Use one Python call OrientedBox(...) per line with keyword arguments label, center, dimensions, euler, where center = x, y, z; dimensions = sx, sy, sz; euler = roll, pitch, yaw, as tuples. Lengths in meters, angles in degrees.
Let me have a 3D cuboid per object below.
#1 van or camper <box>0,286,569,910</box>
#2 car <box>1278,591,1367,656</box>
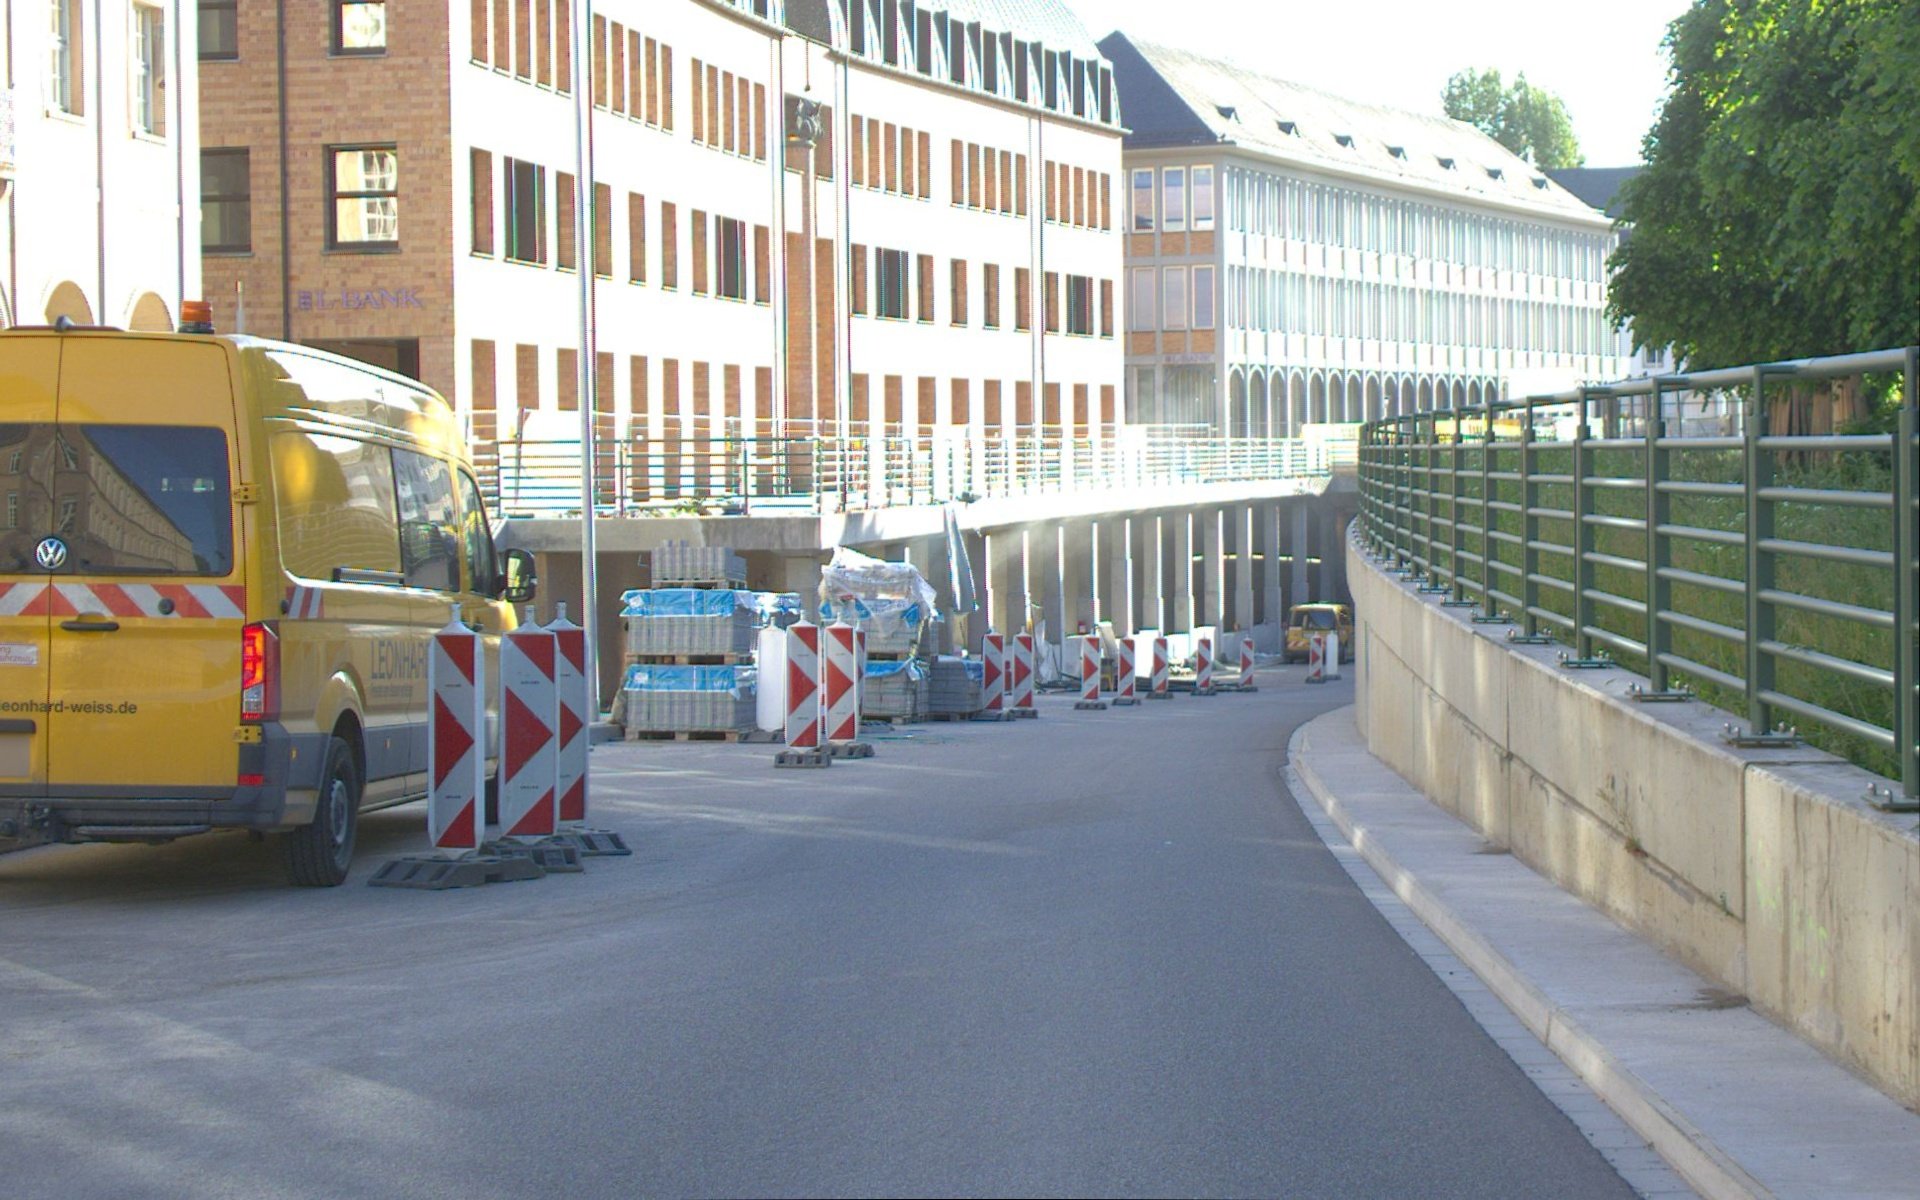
OrientedBox(label="van or camper", center=(-3.748, -0.031, 18.004), dimensions=(2.194, 2.603, 6.824), euler=(2, 0, 3))
OrientedBox(label="car", center=(10.910, 0.681, 103.220), dimensions=(1.849, 1.769, 4.431), euler=(1, 2, 17))
